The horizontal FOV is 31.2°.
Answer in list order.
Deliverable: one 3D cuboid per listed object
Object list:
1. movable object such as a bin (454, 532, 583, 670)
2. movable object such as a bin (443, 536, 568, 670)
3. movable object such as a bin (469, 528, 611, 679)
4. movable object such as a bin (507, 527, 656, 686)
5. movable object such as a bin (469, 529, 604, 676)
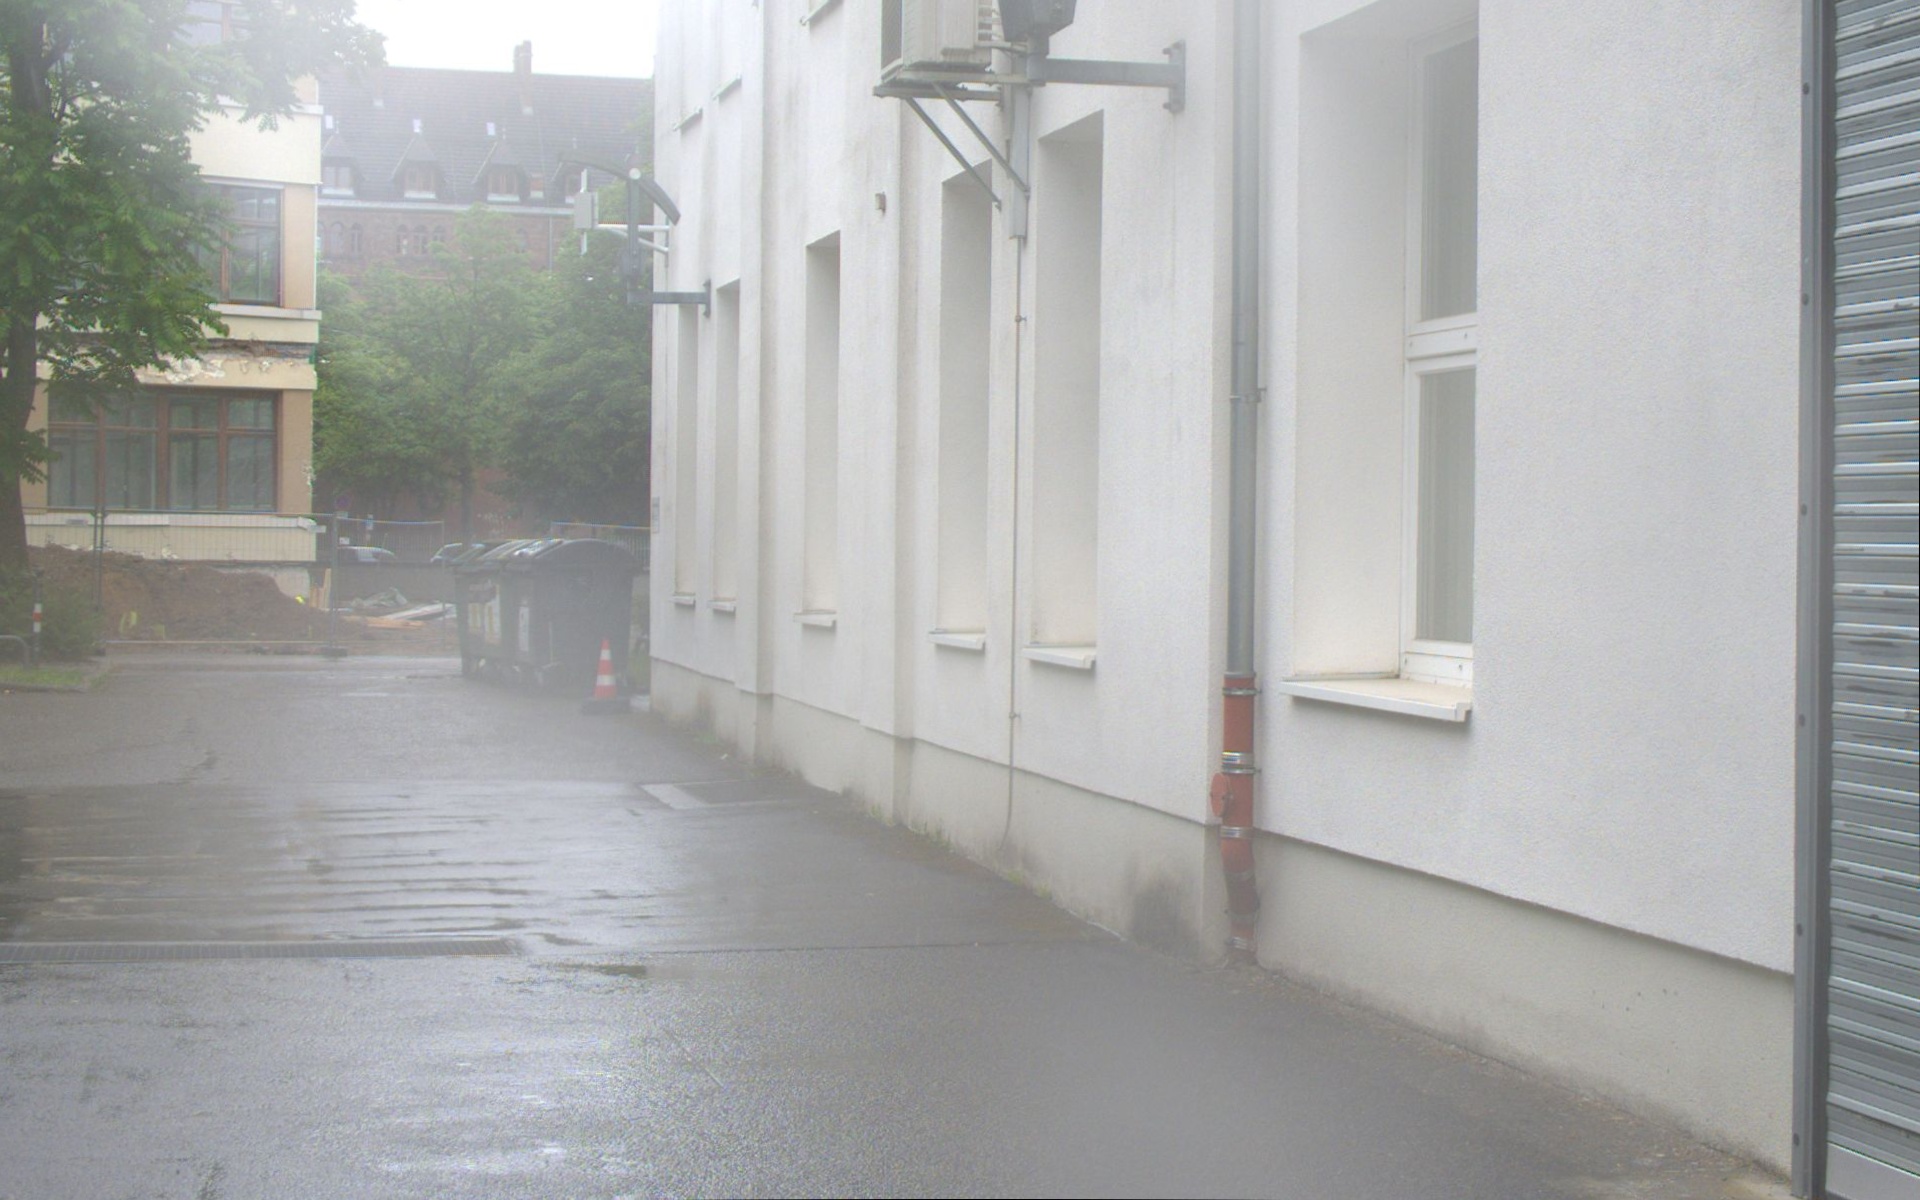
[{"bbox_3d":[-4.695,0.021,36.499,1.214,1.432,1.259,1,-1,-14],"label":"movable object such as a bin"},{"bbox_3d":[-5.009,0.043,37.842,1.214,1.432,1.259,1,-1,-14],"label":"movable object such as a bin"},{"bbox_3d":[-4.109,0.047,33.545,1.214,1.432,1.294,1,-1,-14],"label":"movable object such as a bin"},{"bbox_3d":[-3.526,0.073,31.939,1.214,1.432,1.236,1,-1,-14],"label":"movable object such as a bin"},{"bbox_3d":[-4.344,0.034,35.166,1.214,1.463,1.236,1,-1,-14],"label":"movable object such as a bin"}]
